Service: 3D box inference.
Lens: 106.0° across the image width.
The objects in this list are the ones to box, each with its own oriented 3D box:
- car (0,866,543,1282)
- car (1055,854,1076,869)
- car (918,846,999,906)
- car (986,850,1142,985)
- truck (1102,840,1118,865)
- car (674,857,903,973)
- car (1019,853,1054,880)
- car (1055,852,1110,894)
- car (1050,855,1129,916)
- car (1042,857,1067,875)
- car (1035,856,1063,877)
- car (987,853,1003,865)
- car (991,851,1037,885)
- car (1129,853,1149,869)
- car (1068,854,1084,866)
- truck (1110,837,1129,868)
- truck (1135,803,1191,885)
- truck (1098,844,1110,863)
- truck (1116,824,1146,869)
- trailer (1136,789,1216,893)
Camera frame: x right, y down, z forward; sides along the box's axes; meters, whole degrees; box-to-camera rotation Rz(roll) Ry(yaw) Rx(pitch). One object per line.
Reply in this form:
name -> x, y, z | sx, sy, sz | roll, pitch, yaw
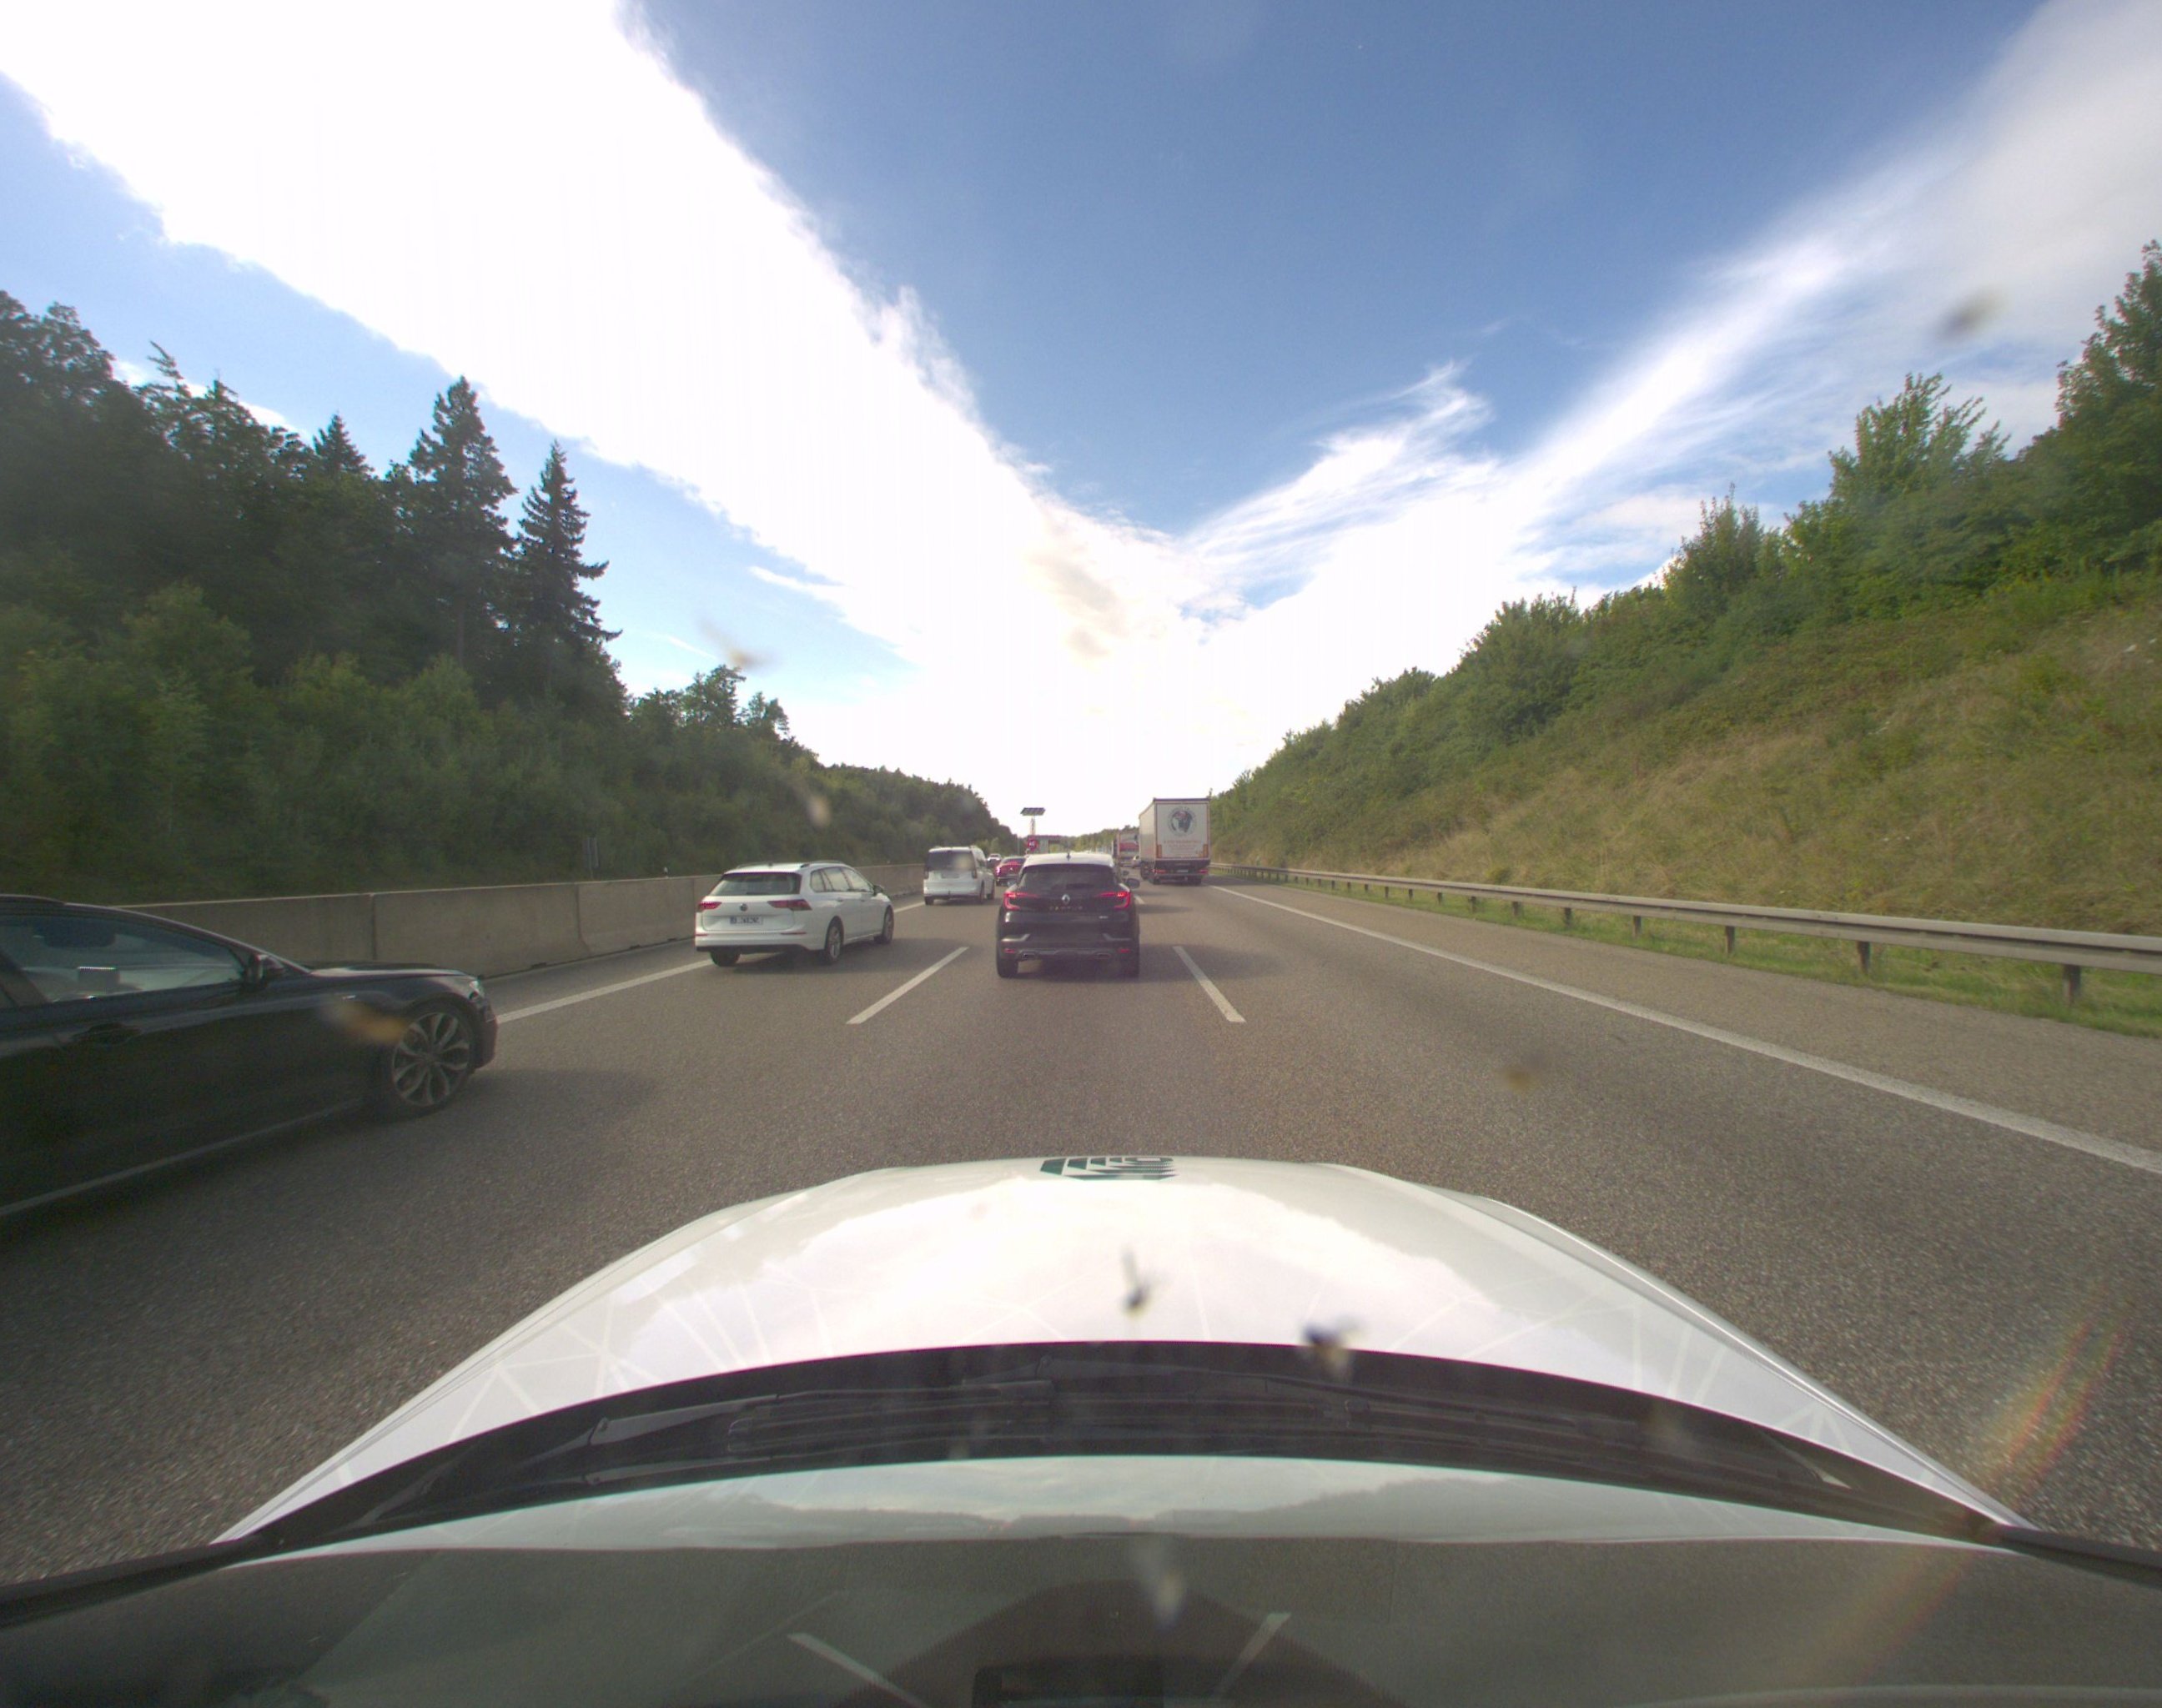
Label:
car -> -4.798, 0.821, 3.379 | 1.836, 1.456, 4.750 | -1, 0, 2
car -> -1.639, 0.800, 87.771 | 1.986, 1.613, 4.002 | -1, 0, 2
car -> -3.906, 0.680, 26.729 | 1.905, 1.789, 4.418 | -1, -1, 1
car -> -0.056, 0.748, 11.466 | 1.796, 1.552, 4.004 | -1, 0, 4
truck -> 6.776, -0.308, 188.928 | 3.152, 5.505, 12.750 | -1, -1, 4
car -> -4.258, 0.806, 12.663 | 1.797, 1.461, 4.311 | -1, -1, 3
car -> -2.920, 0.805, 54.339 | 1.986, 1.722, 4.002 | -1, -1, 2
car -> 0.121, 0.697, 31.558 | 1.986, 1.514, 4.002 | -1, -1, 2
car -> 0.296, 0.808, 22.557 | 1.986, 1.514, 4.002 | -1, -1, 2
car -> -2.393, 1.060, 74.016 | 1.986, 1.613, 4.002 | -1, -1, 2
car -> -2.602, 0.993, 66.482 | 1.986, 1.613, 4.002 | -1, -1, 2
car -> -13.479, 0.776, 127.337 | 1.845, 1.810, 4.926 | -1, 0, 1
car -> -3.361, 0.723, 41.666 | 1.848, 1.641, 3.928 | -1, -1, 3
car -> 5.869, 0.683, 82.136 | 1.798, 1.533, 3.926 | -1, -1, 1
car -> -0.617, 0.839, 110.509 | 1.986, 1.613, 4.002 | -1, 0, 2
truck -> 6.995, -0.203, 148.129 | 3.154, 5.505, 12.745 | -1, -1, 3
truck -> 4.940, -0.579, 50.090 | 2.986, 4.667, 5.941 | -1, 0, 1
truck -> 6.404, -0.049, 224.183 | 3.154, 5.159, 12.745 | -1, -1, 3
truck -> 5.906, -0.783, 97.667 | 3.351, 5.044, 12.745 | -1, -1, 3
trailer -> 4.754, -0.583, 43.387 | 2.991, 4.661, 13.294 | -1, 0, 1
